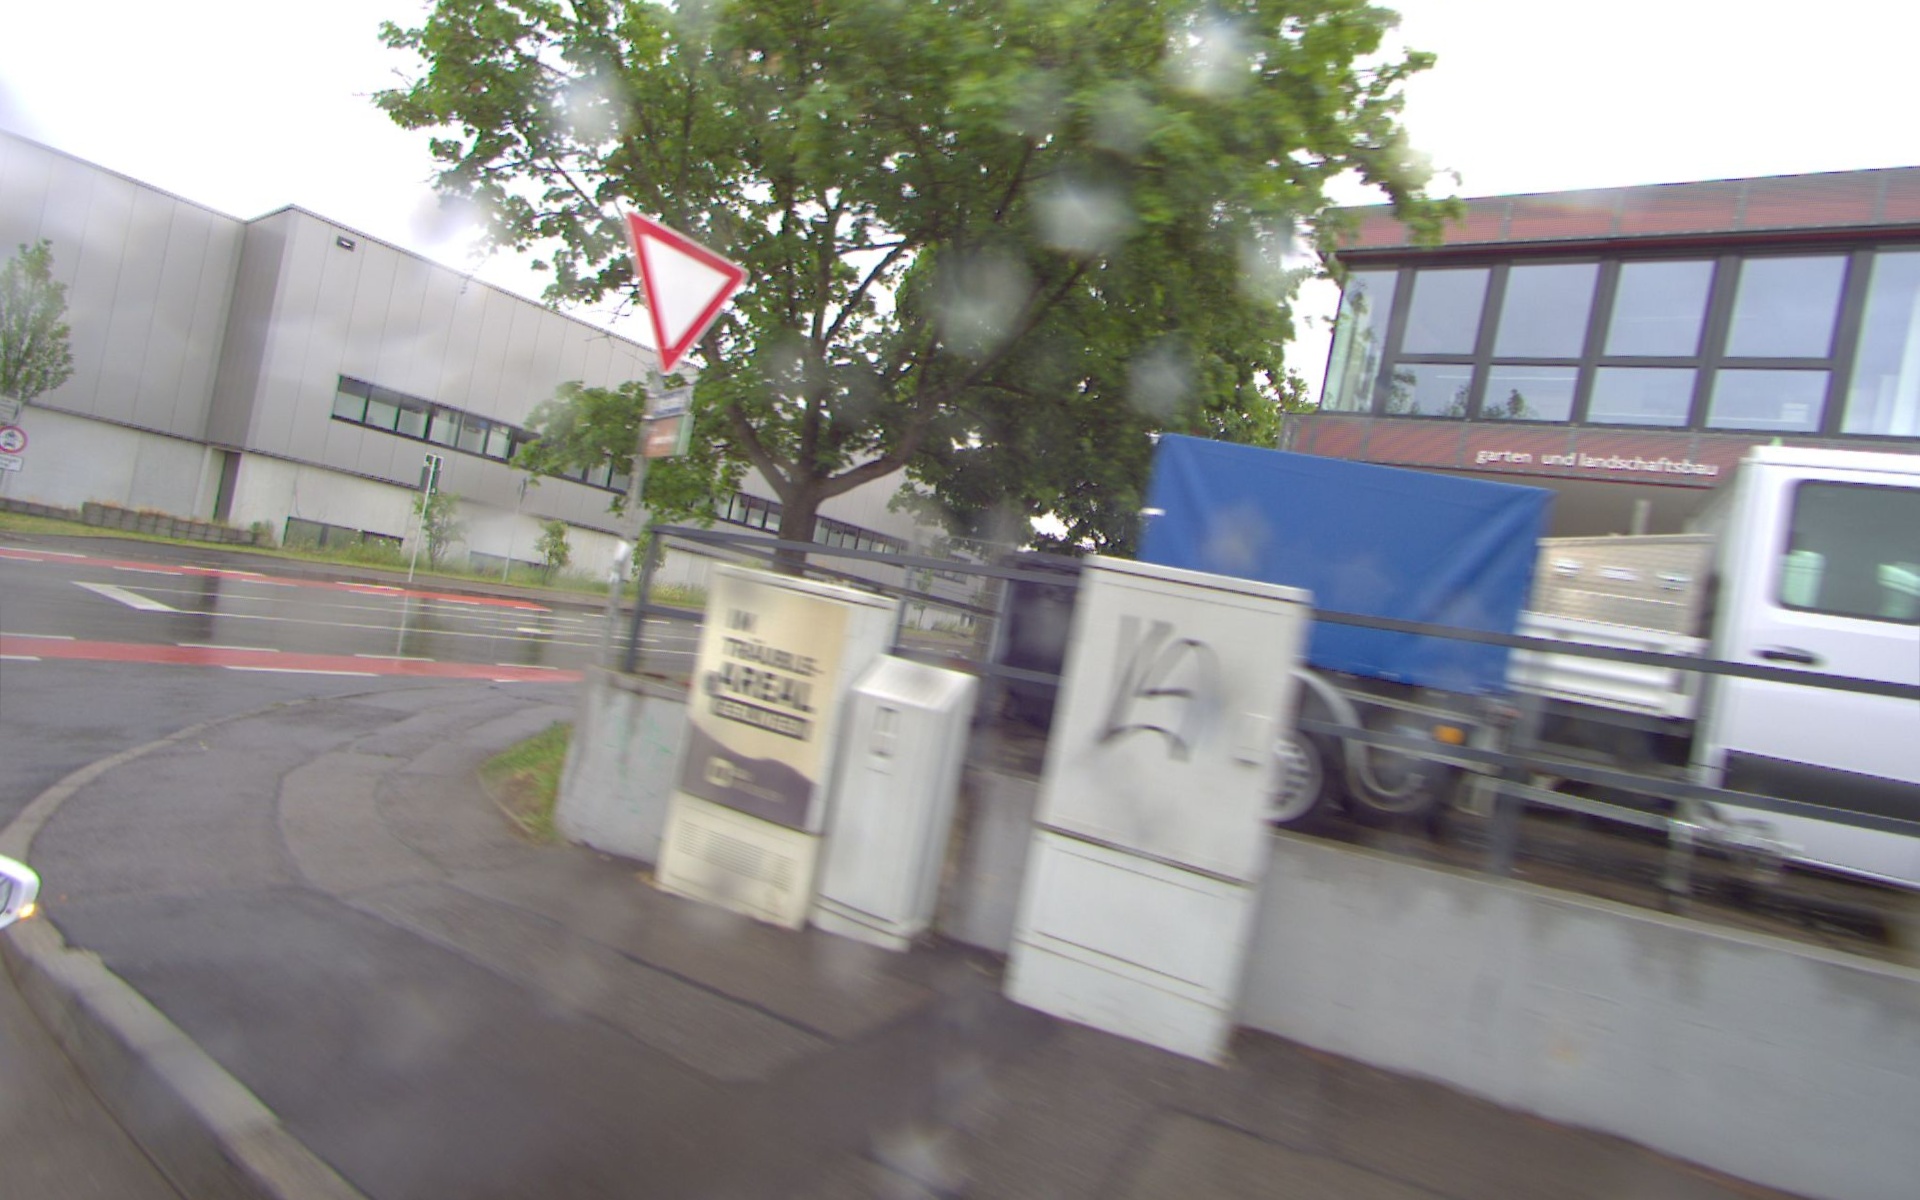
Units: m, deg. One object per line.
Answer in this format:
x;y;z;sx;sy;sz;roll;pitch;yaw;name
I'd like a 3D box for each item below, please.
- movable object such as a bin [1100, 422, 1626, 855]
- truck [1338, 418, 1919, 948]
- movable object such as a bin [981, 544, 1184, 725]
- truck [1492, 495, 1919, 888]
1.773;0.144;4.750;1.824;1.518;1.312;8;-1;18;movable object such as a bin
5.137;0.555;5.168;5.554;2.240;2.111;8;-1;28;truck
0.960;0.280;7.695;1.010;1.176;1.140;8;-1;33;movable object such as a bin
6.797;0.767;7.419;4.755;2.369;2.248;8;-1;31;truck
